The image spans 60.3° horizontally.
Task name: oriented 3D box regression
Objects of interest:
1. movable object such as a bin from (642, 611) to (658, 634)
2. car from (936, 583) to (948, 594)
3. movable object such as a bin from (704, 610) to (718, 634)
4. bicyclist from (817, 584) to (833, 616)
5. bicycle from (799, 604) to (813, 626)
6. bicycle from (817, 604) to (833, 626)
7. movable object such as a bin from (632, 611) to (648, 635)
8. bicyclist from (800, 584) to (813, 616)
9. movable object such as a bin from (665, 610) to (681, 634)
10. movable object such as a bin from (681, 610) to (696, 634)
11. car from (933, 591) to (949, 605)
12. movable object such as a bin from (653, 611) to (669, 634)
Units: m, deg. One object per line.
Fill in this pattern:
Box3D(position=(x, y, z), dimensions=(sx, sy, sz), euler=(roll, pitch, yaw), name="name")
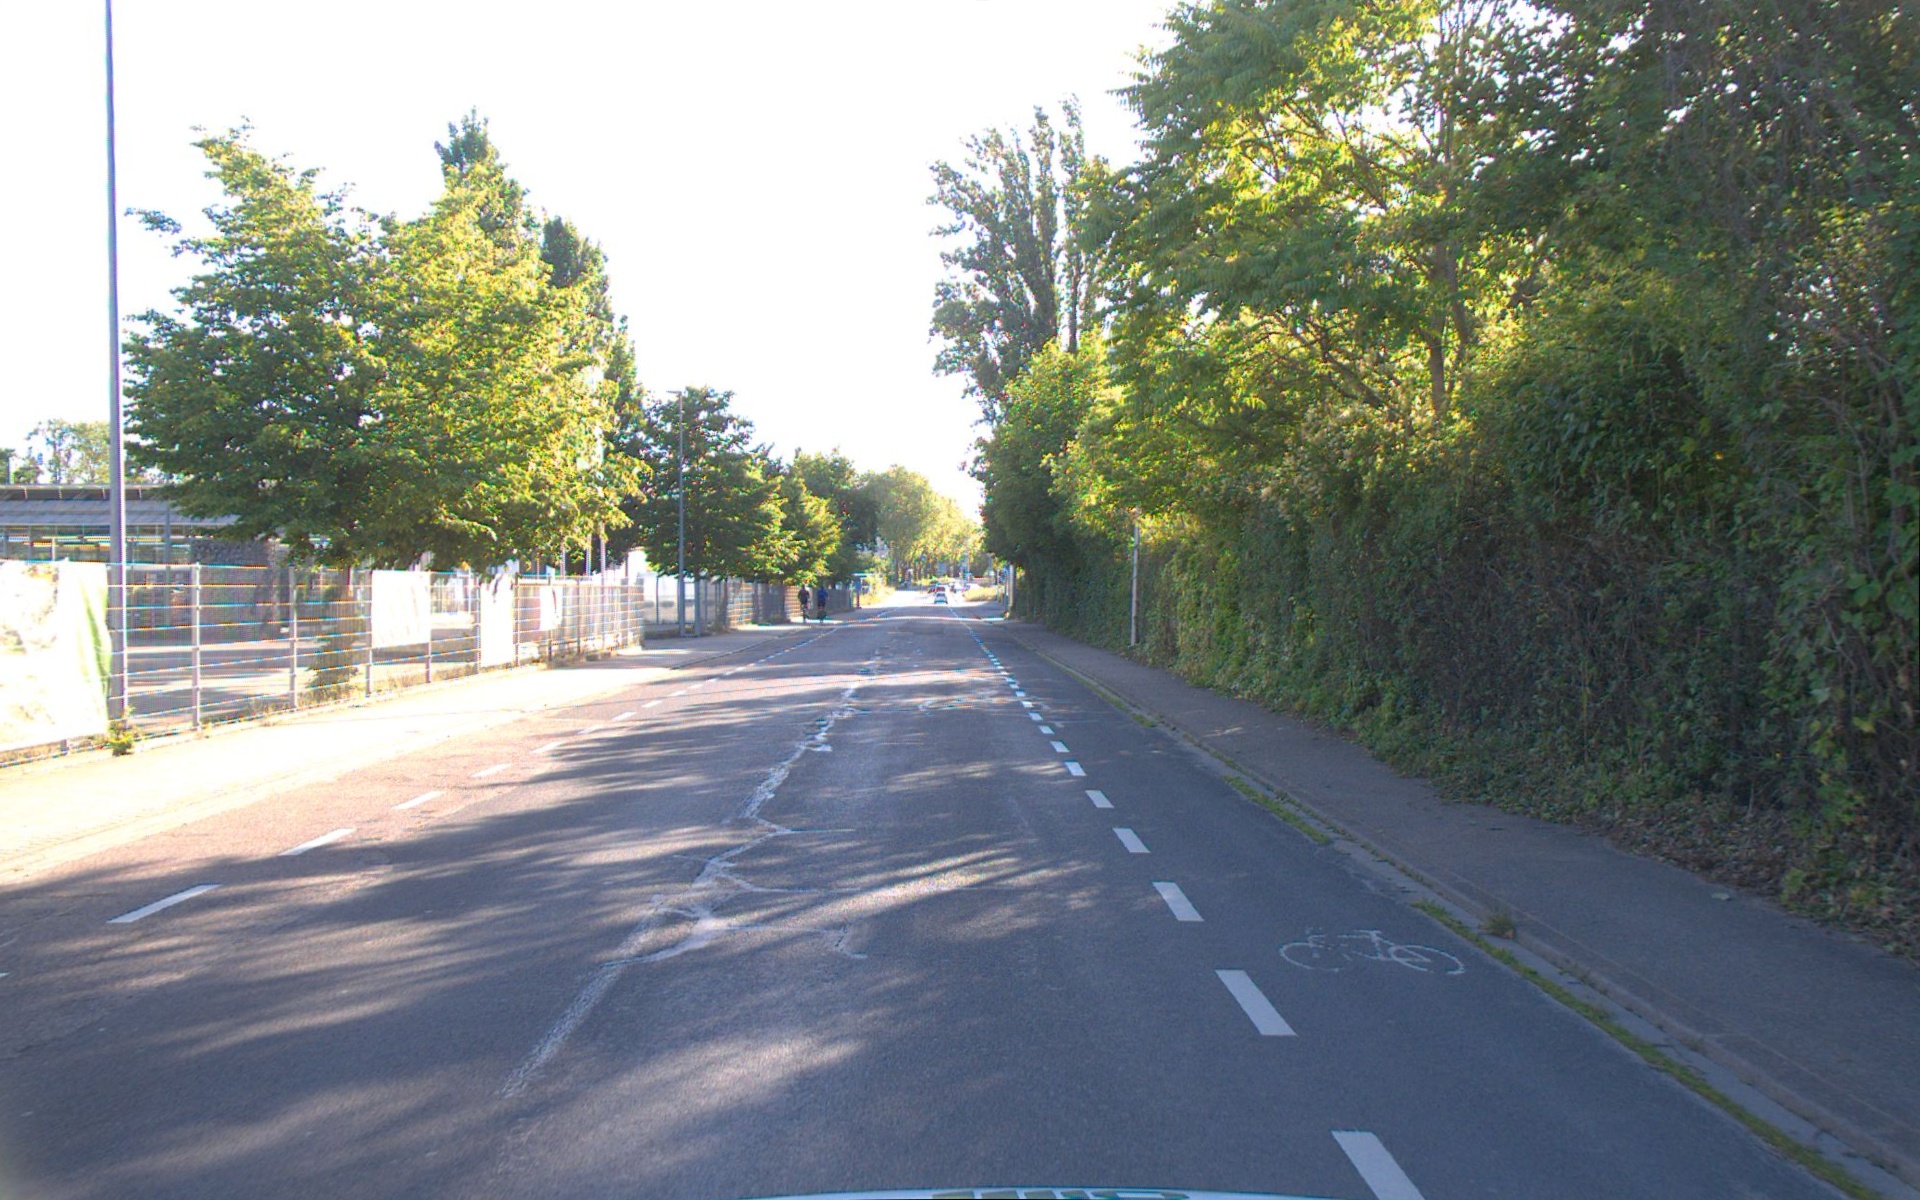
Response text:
Box3D(position=(-14.432, 1.045, 77.092), dimensions=(0.453, 1.095, 1.569), euler=(0, 0, -1), name="movable object such as a bin")
Box3D(position=(-2.755, -1.723, 253.742), dimensions=(1.903, 1.680, 4.309), euler=(2, 0, -1), name="car")
Box3D(position=(-11.608, 1.034, 77.072), dimensions=(0.453, 1.095, 1.569), euler=(0, 0, -1), name="movable object such as a bin")
Box3D(position=(-6.665, -0.006, 81.832), dimensions=(0.675, 1.559, 0.722), euler=(2, 0, -1), name="bicyclist")
Box3D(position=(-7.687, 0.740, 82.430), dimensions=(0.551, 1.052, 1.350), euler=(2, 0, -1), name="bicycle")
Box3D(position=(-6.687, 0.749, 81.865), dimensions=(0.675, 1.052, 1.350), euler=(2, 0, -1), name="bicycle")
Box3D(position=(-14.915, 1.048, 77.187), dimensions=(0.453, 1.095, 1.569), euler=(0, 0, -1), name="movable object such as a bin")
Box3D(position=(-7.658, 0.011, 82.355), dimensions=(0.548, 1.560, 0.689), euler=(2, 0, -1), name="bicyclist")
Box3D(position=(-13.368, 1.040, 77.076), dimensions=(0.453, 1.095, 1.569), euler=(0, 0, -1), name="movable object such as a bin")
Box3D(position=(-12.646, 1.040, 77.166), dimensions=(0.453, 1.095, 1.569), euler=(0, 0, -1), name="movable object such as a bin")
Box3D(position=(-2.393, -0.249, 206.794), dimensions=(1.903, 1.680, 4.309), euler=(2, 0, -1), name="car")
Box3D(position=(-13.929, 1.041, 77.003), dimensions=(0.453, 1.095, 1.569), euler=(0, 0, -1), name="movable object such as a bin")
